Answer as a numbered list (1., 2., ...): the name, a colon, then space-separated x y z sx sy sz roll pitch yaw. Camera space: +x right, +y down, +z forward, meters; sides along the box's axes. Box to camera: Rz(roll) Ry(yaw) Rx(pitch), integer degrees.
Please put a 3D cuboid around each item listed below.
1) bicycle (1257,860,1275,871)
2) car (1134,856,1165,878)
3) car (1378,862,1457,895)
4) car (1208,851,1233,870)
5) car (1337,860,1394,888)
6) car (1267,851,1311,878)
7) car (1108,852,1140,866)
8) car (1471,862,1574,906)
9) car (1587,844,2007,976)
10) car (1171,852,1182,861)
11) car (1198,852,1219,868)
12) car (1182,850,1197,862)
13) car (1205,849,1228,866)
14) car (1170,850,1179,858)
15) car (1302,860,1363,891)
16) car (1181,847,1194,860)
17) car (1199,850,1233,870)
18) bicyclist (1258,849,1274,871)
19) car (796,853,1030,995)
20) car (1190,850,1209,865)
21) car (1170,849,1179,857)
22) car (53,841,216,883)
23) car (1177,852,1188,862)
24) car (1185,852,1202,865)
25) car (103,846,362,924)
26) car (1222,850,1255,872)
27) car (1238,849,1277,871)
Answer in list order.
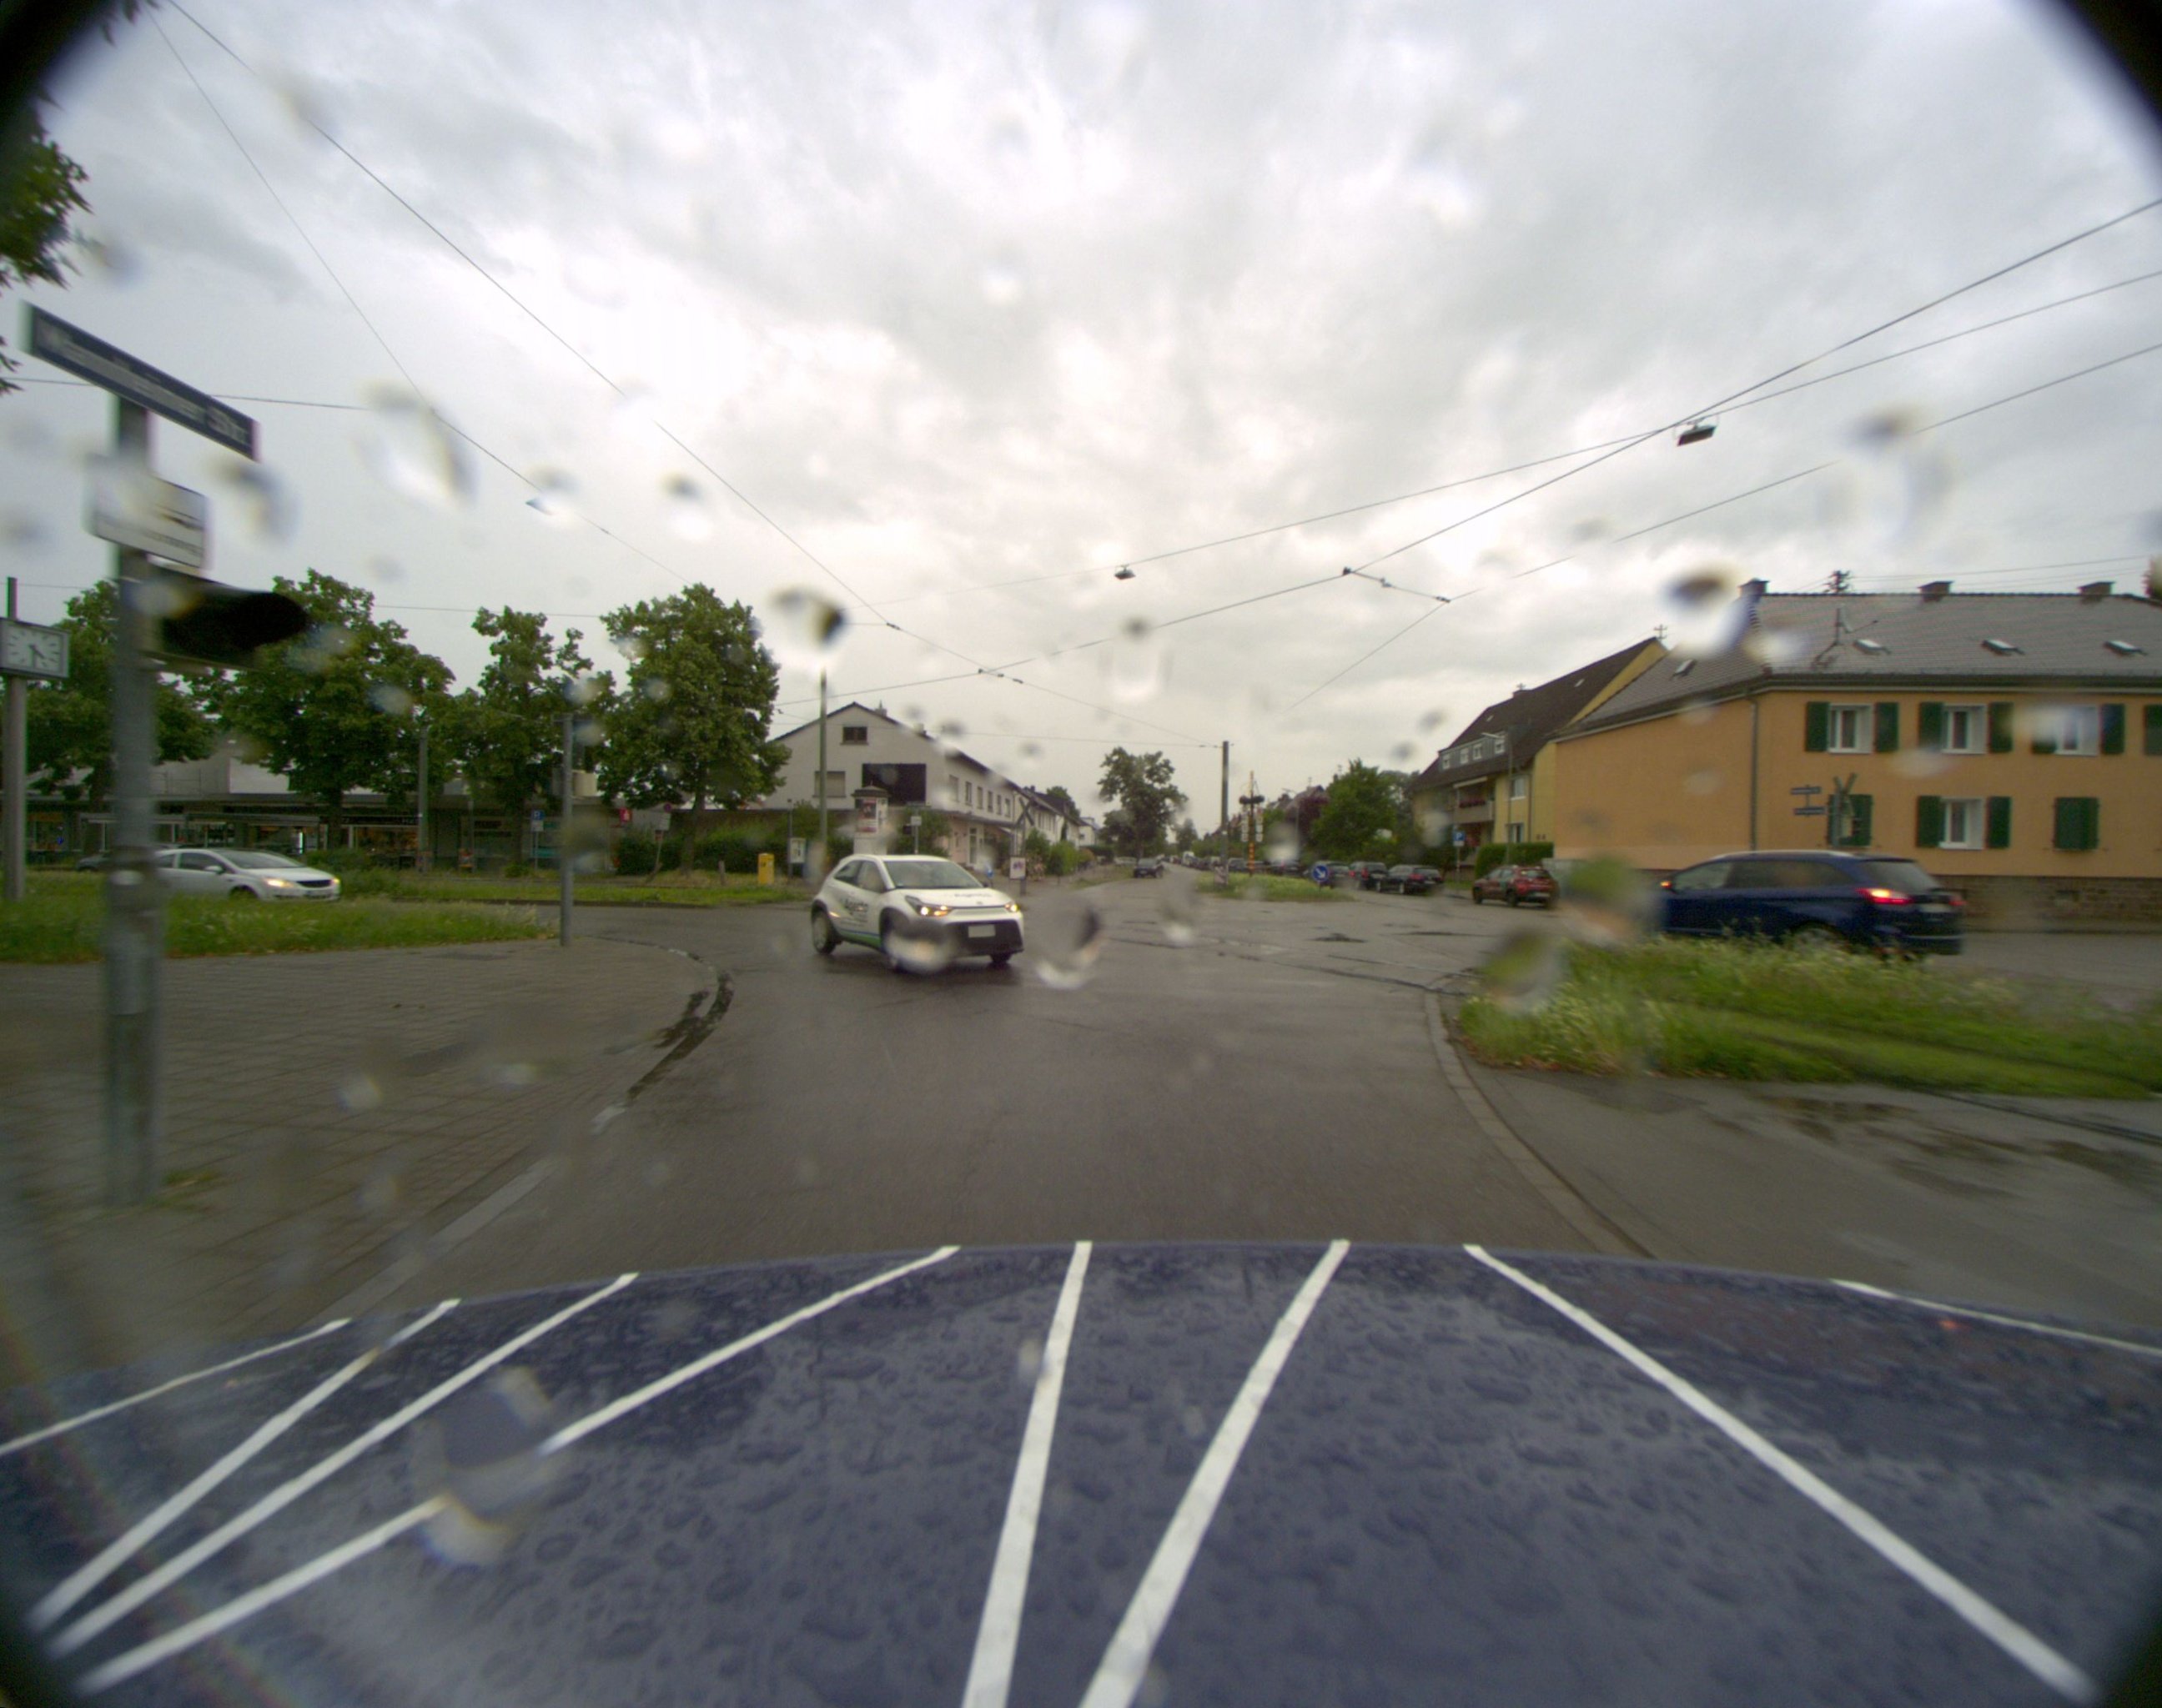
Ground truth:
1. bicycle: 13.507 0.805 55.529 0.941 0.782 1.820 1 0 2
2. car: 5.432 1.001 59.688 1.786 1.454 4.003 1 2 14
3. car: 16.277 1.145 37.058 1.965 1.388 4.505 1 1 2
4. car: 14.672 0.707 80.196 1.998 1.784 3.999 1 2 2
5. car: 16.090 1.081 43.235 1.758 1.325 3.998 1 2 1
6. car: 15.574 0.765 57.149 1.999 1.784 3.997 1 2 -3
7. car: 5.493 0.655 97.086 3.996 1.673 1.999 1 3 2
8. car: 16.169 1.050 28.071 1.721 1.331 3.615 1 2 1
9. car: 11.089 0.708 12.358 2.001 1.596 4.565 0 2 -14
10. car: 21.972 0.592 174.939 1.998 1.784 3.999 1 2 2
11. car: 15.645 0.729 93.210 1.998 1.784 3.999 1 2 2
12. car: 18.044 0.257 126.744 1.998 1.784 3.999 1 2 2
13. car: 15.588 0.414 87.718 1.998 1.784 3.999 1 2 2
14. car: 24.435 -0.034 199.440 1.998 1.784 3.999 1 2 2
15. car: 13.180 1.094 40.048 1.998 1.467 4.001 1 0 2
16. car: 18.773 -0.137 133.765 1.998 2.023 4.000 1 2 4
17. car: 10.044 0.435 56.694 1.998 1.467 4.001 1 0 2
18. bicyclist: 13.498 0.435 55.497 0.949 1.588 1.042 1 0 2
19. car: -2.524 0.823 10.826 1.724 1.614 3.704 -2 1 -40
20. car: 16.094 0.485 103.460 1.998 1.784 3.999 1 2 2
21. car: 23.797 -0.174 192.973 1.998 1.784 3.999 1 2 2
22. car: -35.595 0.286 28.677 3.624 1.495 1.549 0 3 -12
23. car: 20.870 0.642 156.249 1.998 1.784 3.999 1 2 2
24. car: 17.152 0.711 116.063 1.998 1.784 3.999 1 2 2
25. car: -19.834 0.676 17.891 3.996 1.544 1.963 3 1 3
26. car: 14.324 0.630 69.333 1.999 1.784 3.997 1 2 -3
27. car: 14.597 0.465 62.926 1.999 1.565 4.123 0 2 -4
